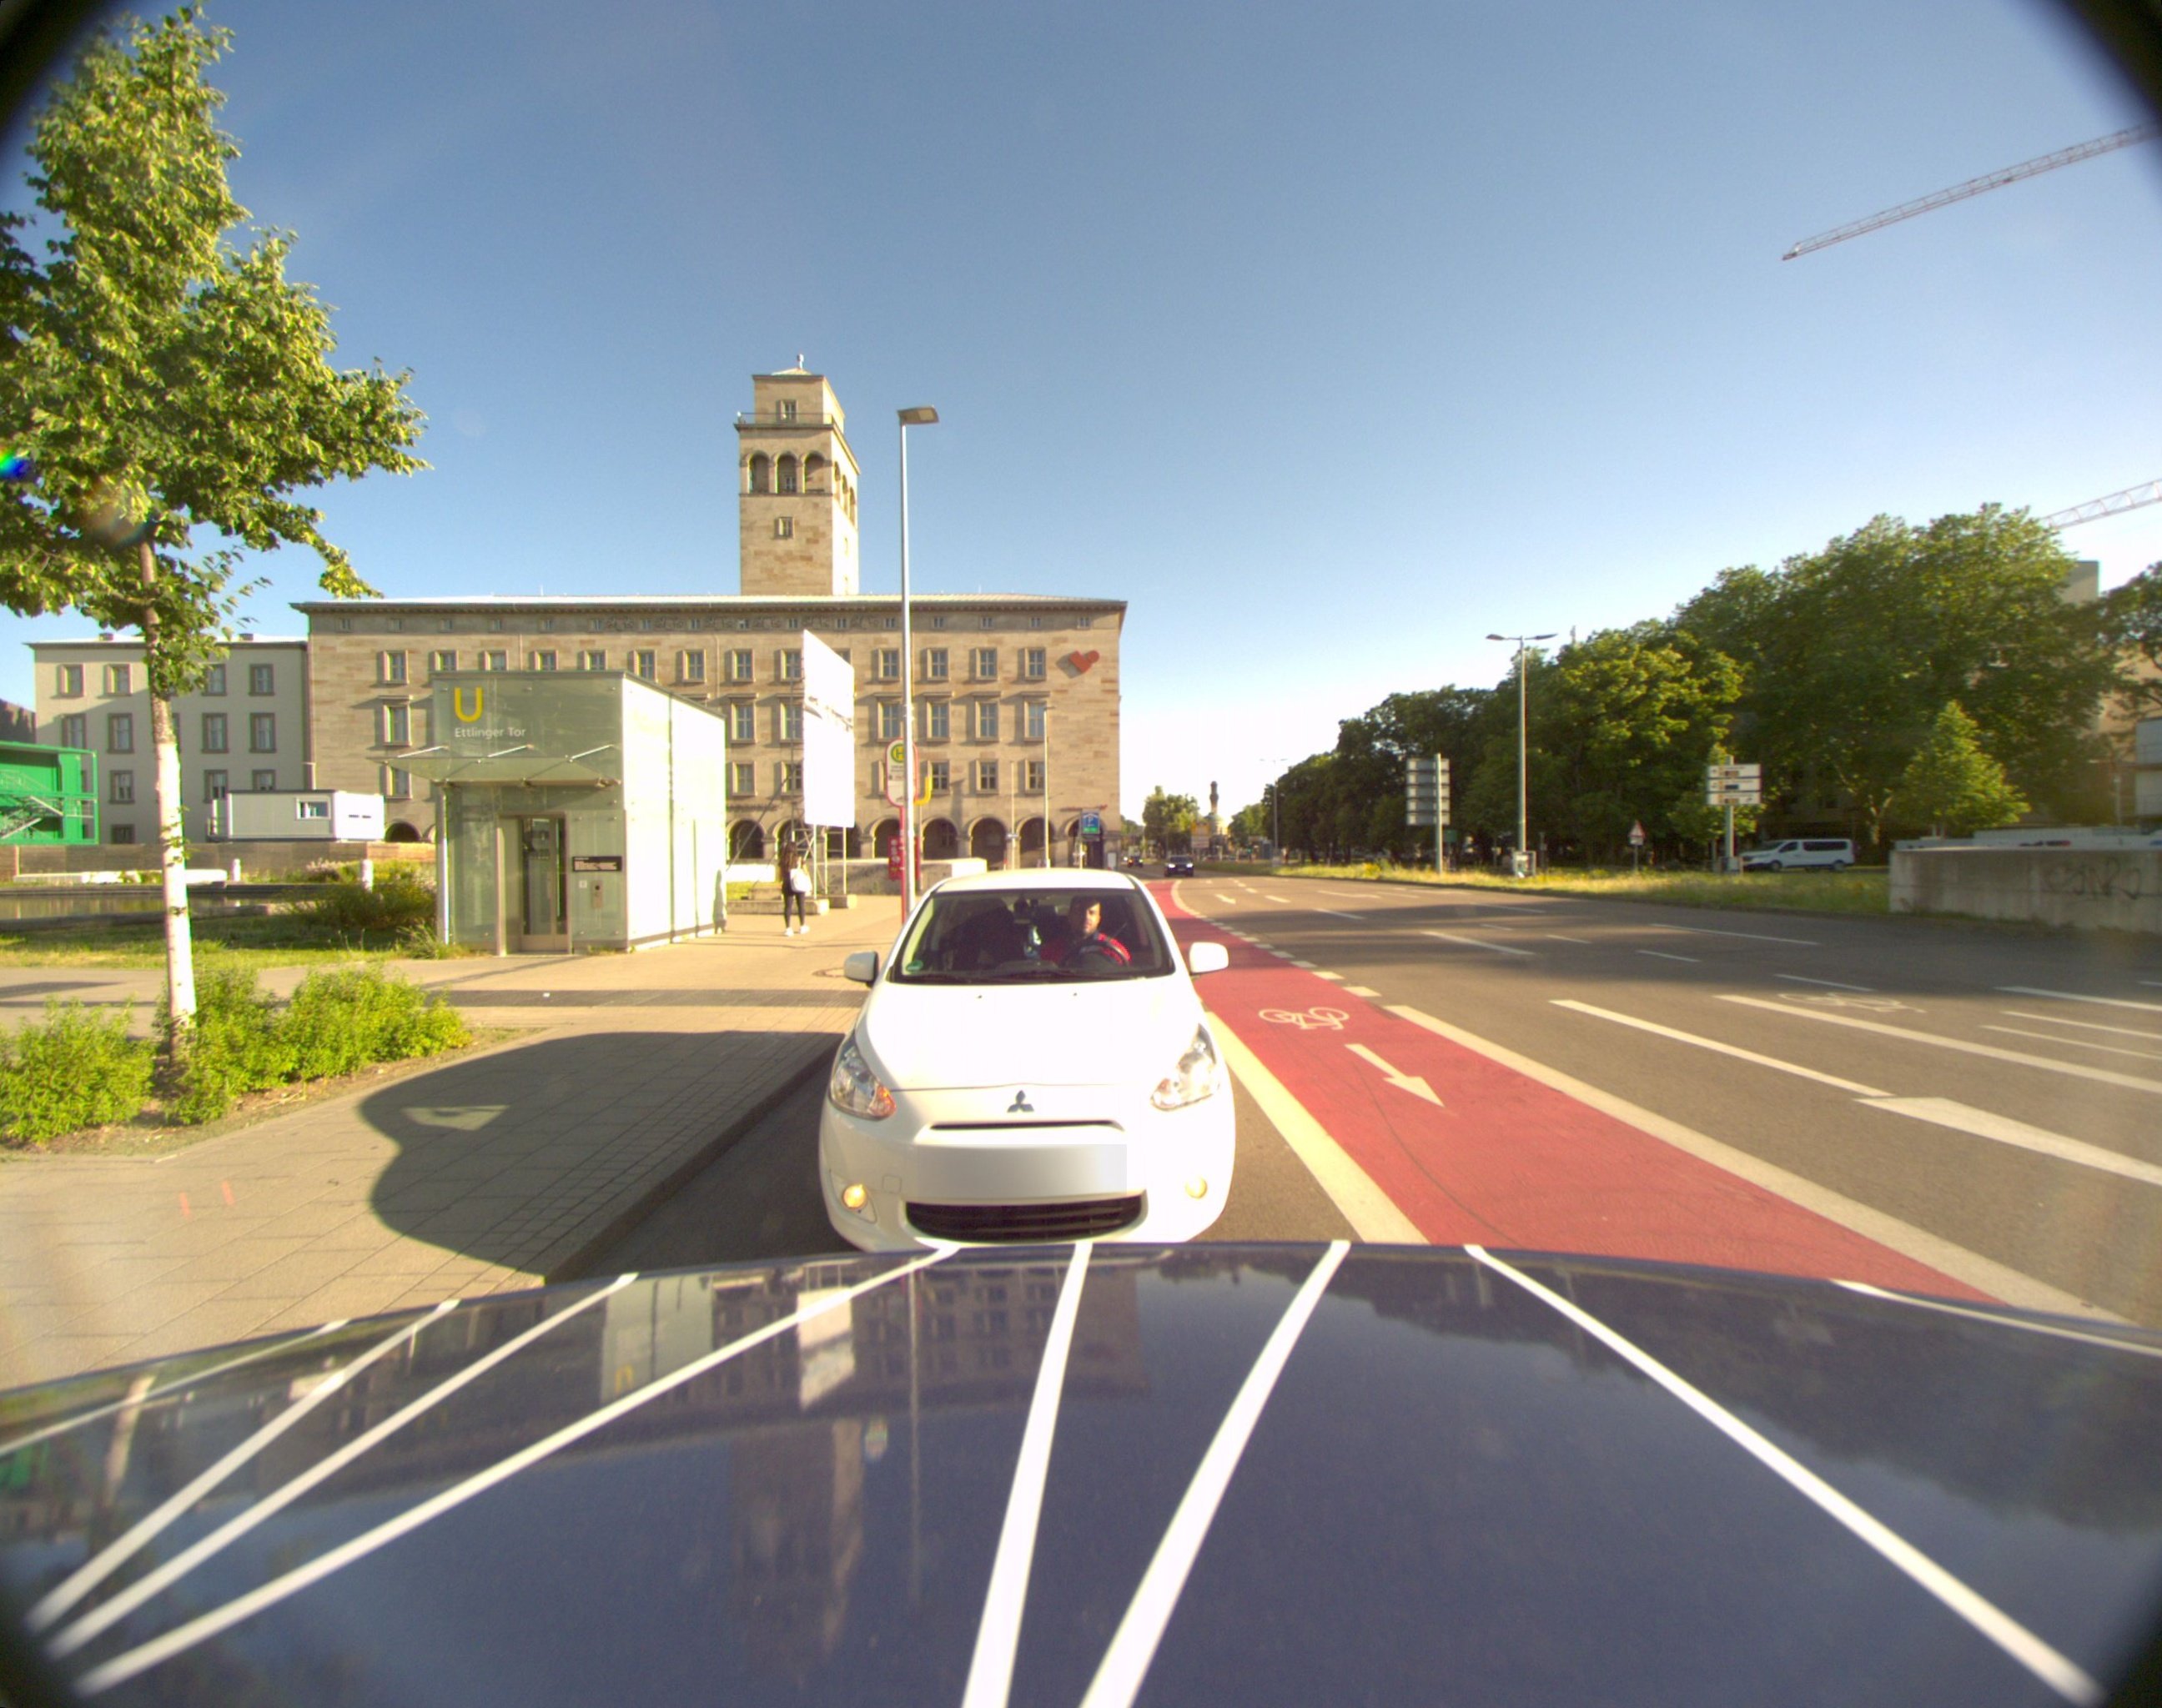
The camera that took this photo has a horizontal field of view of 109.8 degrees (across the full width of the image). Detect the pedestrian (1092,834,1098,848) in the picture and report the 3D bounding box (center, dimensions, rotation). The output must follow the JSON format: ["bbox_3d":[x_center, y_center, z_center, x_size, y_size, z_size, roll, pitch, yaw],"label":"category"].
[{"bbox_3d":[1.833,-1.714,100.080,0.704,1.843,0.828,-1,1,0],"label":"pedestrian"}]

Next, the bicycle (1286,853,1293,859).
[{"bbox_3d":[31.805,0.282,115.839,0.610,0.838,1.745,-1,0,-1],"label":"bicycle"}]

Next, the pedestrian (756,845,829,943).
[{"bbox_3d":[-5.362,0.717,14.208,0.942,1.776,1.072,0,1,1],"label":"pedestrian"}]

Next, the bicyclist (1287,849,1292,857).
[{"bbox_3d":[31.801,-0.188,115.830,0.610,1.274,0.715,-1,1,-1],"label":"bicyclist"}]

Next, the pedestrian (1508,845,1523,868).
[{"bbox_3d":[33.072,0.159,57.835,0.707,1.715,0.762,-1,1,1],"label":"pedestrian"}]

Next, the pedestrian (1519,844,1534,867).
[{"bbox_3d":[33.800,0.119,57.629,0.665,1.715,0.762,-1,1,1],"label":"pedestrian"}]

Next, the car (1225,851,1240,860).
[{"bbox_3d":[26.214,0.269,131.344,1.998,1.499,4.000,-1,0,2],"label":"car"}]

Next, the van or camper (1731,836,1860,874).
[{"bbox_3d":[42.298,0.067,45.080,5.649,2.002,1.948,-2,1,2],"label":"van or camper"}]

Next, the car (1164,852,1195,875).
[{"bbox_3d":[7.554,0.682,58.728,1.937,1.634,4.617,-1,0,2],"label":"car"}]

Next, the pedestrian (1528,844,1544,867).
[{"bbox_3d":[34.418,0.096,57.478,0.707,1.715,0.762,-1,1,1],"label":"pedestrian"}]

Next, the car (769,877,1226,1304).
[{"bbox_3d":[-0.259,0.961,4.816,1.678,1.440,3.889,-2,0,2],"label":"car"}]

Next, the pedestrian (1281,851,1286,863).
[{"bbox_3d":[32.867,0.470,123.427,0.627,1.837,0.925,-1,1,3],"label":"pedestrian"}]

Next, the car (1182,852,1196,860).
[{"bbox_3d":[19.717,0.311,139.156,1.873,1.390,3.999,-1,0,-2],"label":"car"}]

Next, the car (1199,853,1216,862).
[{"bbox_3d":[20.343,0.496,122.235,1.872,1.390,3.999,-1,0,-1],"label":"car"}]

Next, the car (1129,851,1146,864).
[{"bbox_3d":[7.787,0.425,105.204,1.999,1.709,4.325,-1,0,-1],"label":"car"}]
